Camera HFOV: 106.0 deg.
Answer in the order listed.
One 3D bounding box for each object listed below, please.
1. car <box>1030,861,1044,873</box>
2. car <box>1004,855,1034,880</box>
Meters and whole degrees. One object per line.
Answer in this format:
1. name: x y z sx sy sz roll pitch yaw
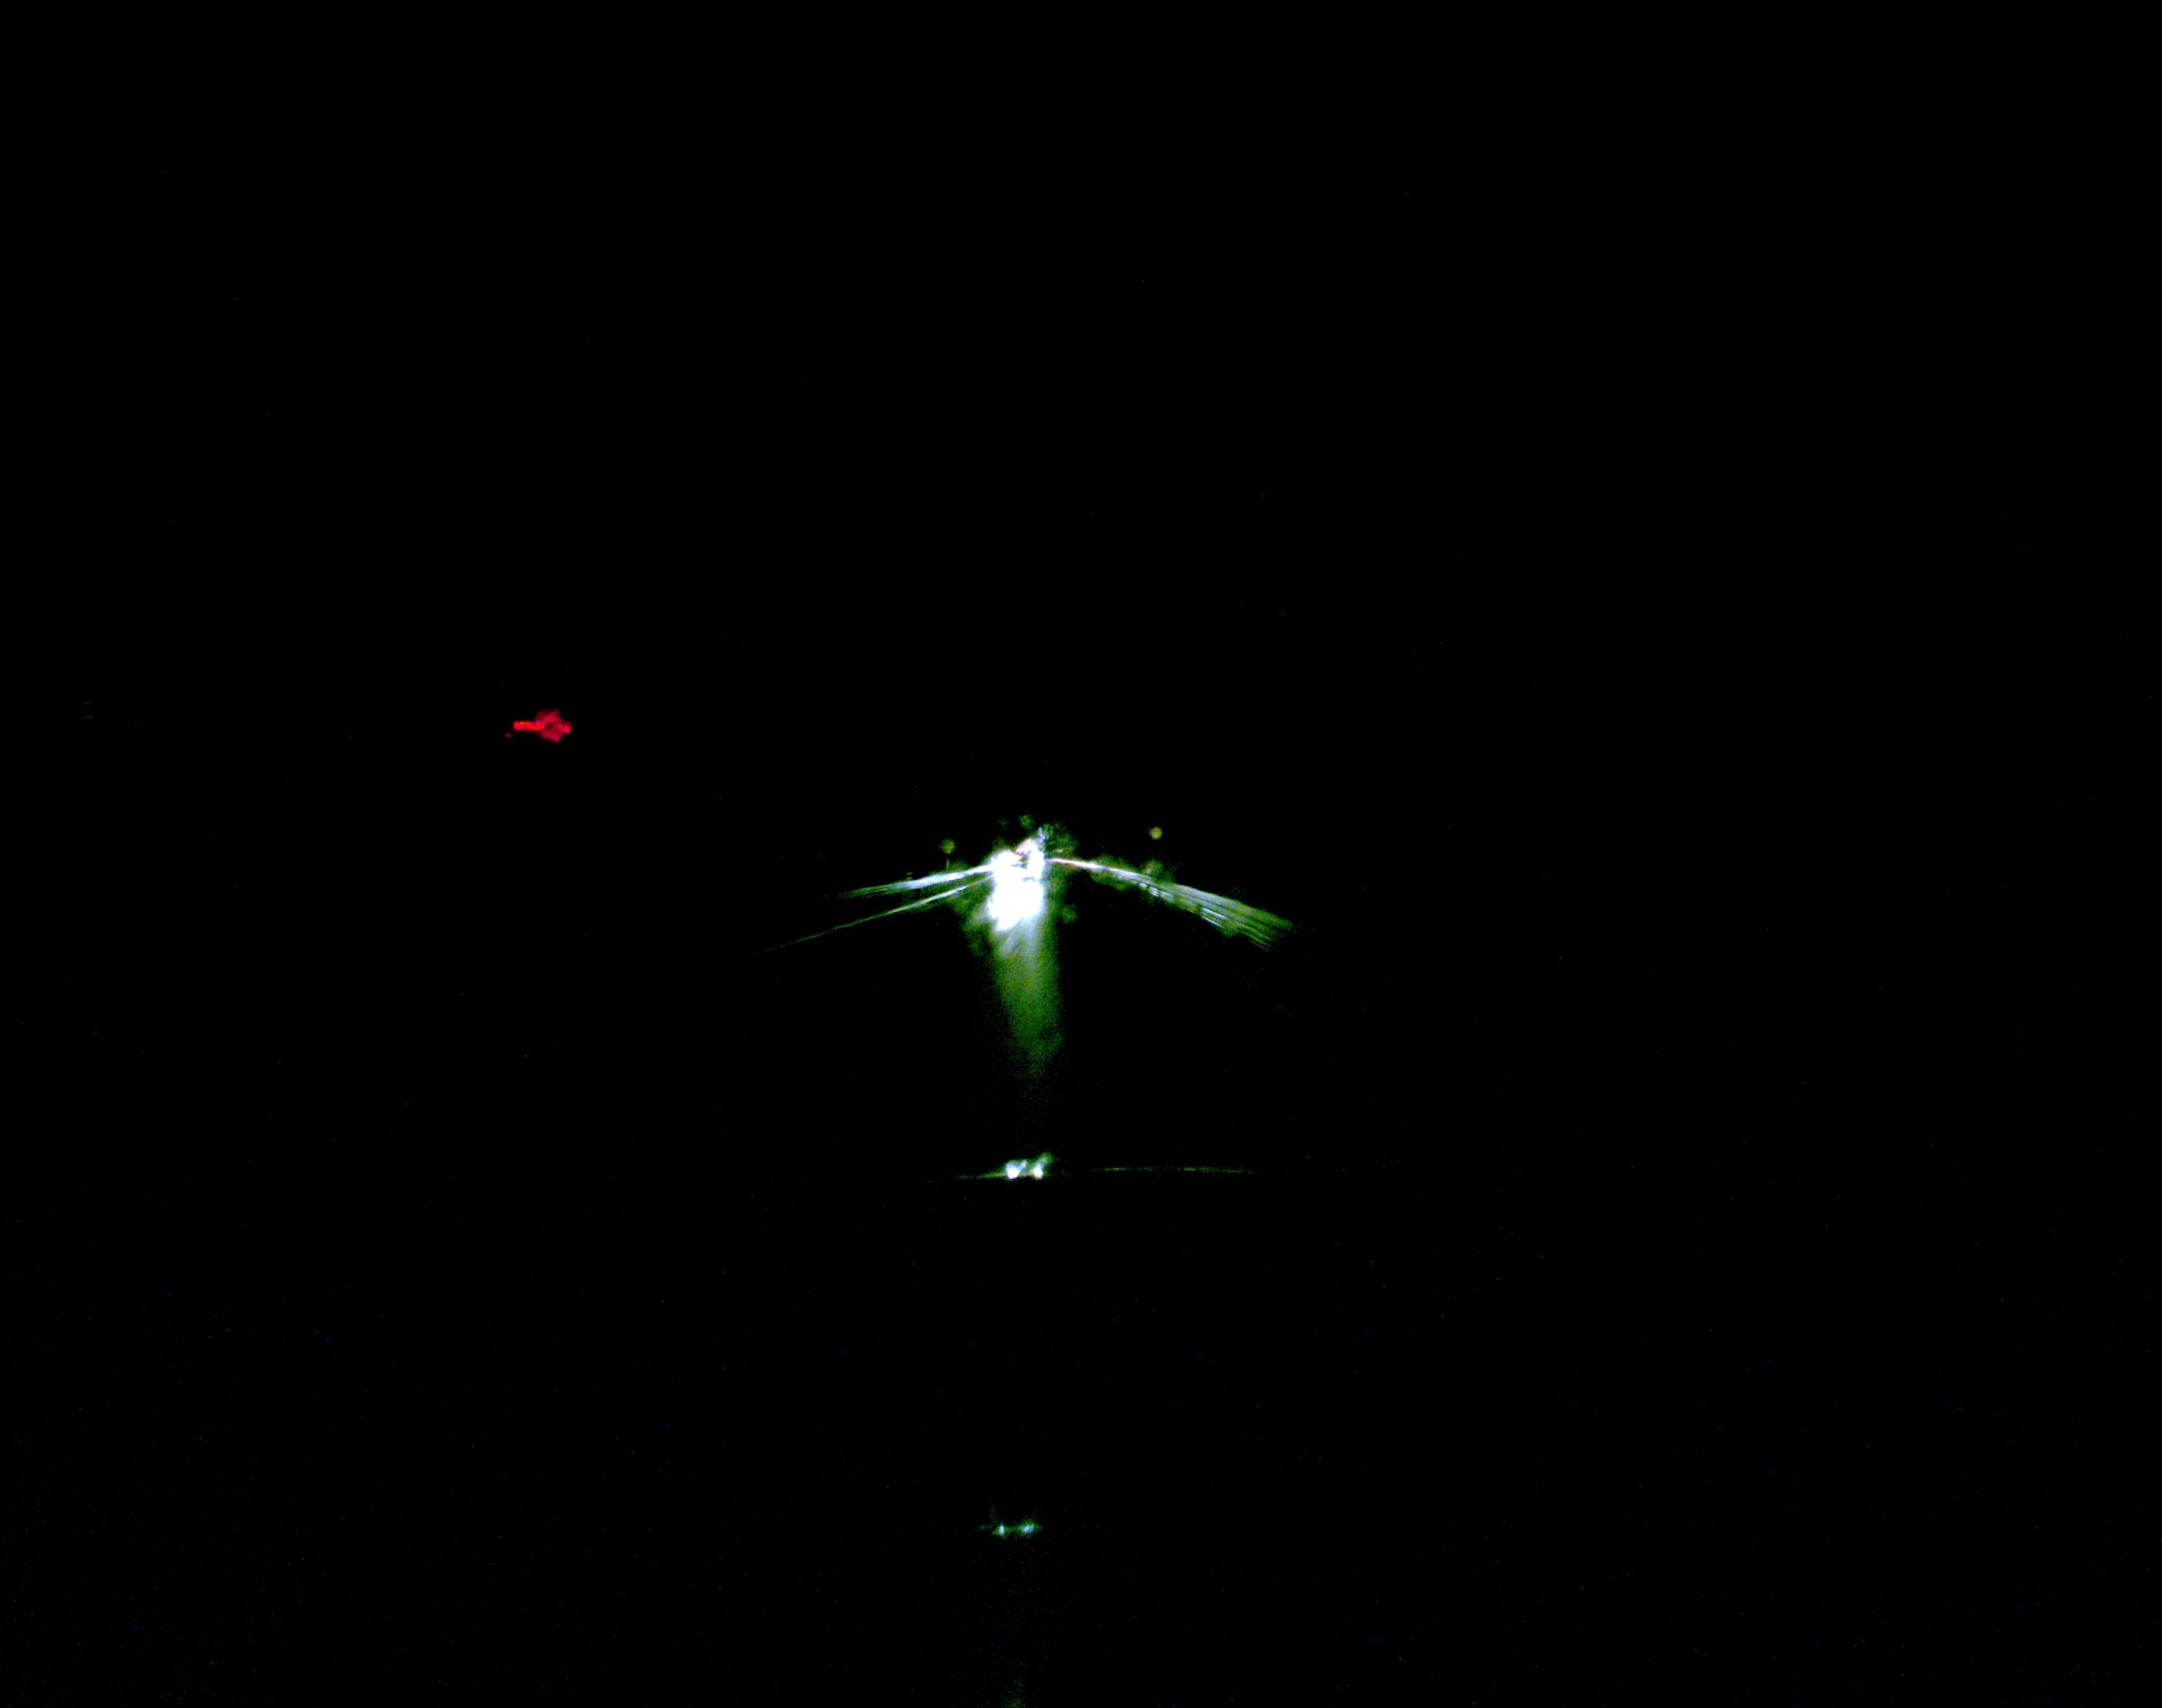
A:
1. car: -5.807 1.635 107.128 1.829 1.483 4.064 -1 0 -3
2. car: -3.867 0.806 51.255 1.698 1.506 3.680 -1 0 -3
